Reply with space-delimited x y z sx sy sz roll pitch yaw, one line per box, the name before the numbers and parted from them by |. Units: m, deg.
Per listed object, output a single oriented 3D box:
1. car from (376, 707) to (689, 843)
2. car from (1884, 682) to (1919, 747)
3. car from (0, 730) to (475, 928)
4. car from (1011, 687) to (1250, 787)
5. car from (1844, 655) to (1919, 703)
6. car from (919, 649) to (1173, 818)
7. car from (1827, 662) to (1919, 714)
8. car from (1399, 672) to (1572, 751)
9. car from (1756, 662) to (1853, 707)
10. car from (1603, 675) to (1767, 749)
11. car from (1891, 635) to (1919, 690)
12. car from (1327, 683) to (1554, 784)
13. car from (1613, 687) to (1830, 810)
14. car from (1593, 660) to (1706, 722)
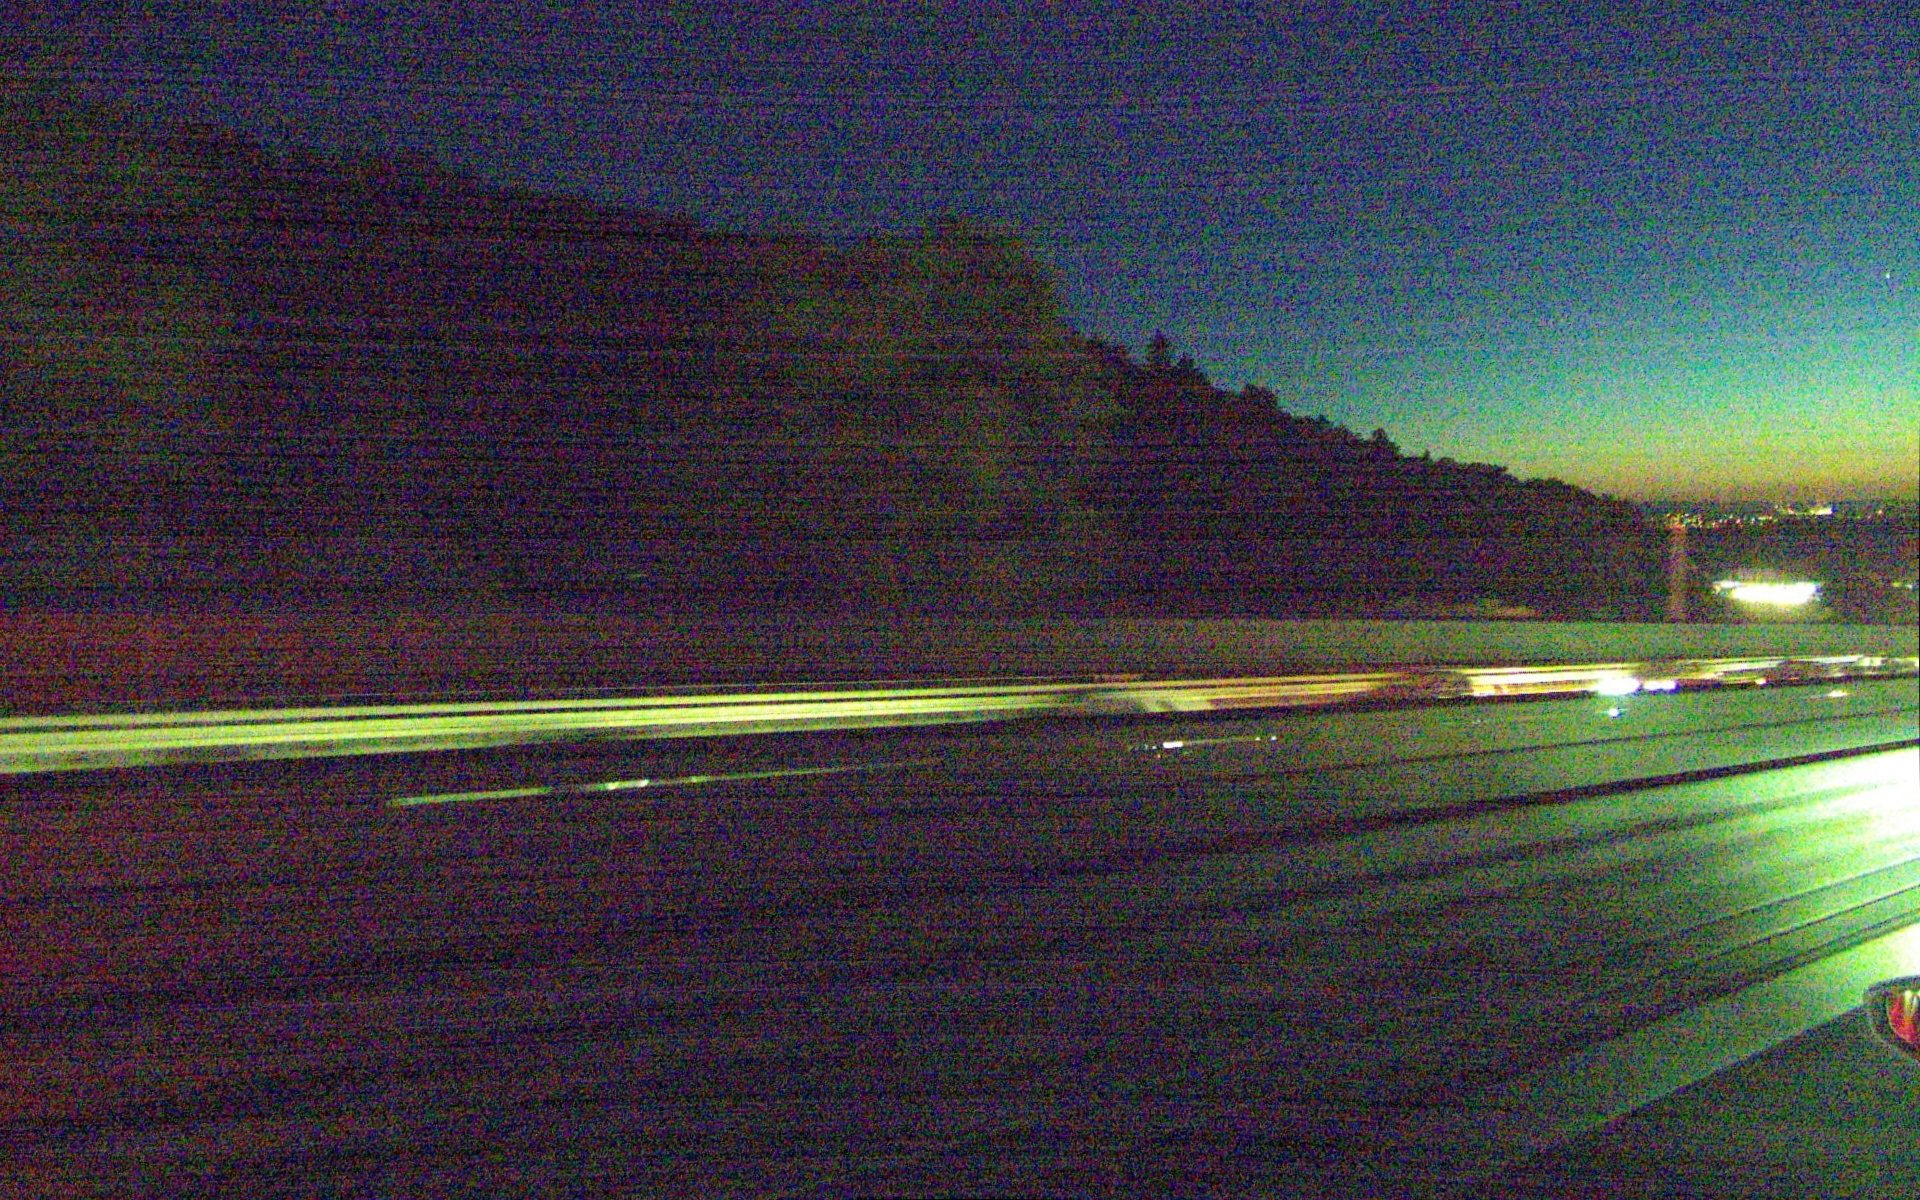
car | -6.108 2.405 14.464 3.955 1.416 1.689 1 -1 -32
car | 26.173 3.015 26.554 4.239 1.488 1.804 1 -1 -37
car | -7.023 2.114 9.890 3.952 1.320 1.711 1 -2 -30
car | 3.423 2.593 19.817 4.663 1.473 1.891 1 -1 -35
car | 37.780 3.170 40.762 3.959 1.739 1.939 1 -2 -34
car | 1.233 1.735 14.080 3.292 2.040 1.610 1 -2 -34
car | 29.724 2.785 32.450 3.963 1.477 1.810 1 -3 -37
car | 13.406 2.736 25.513 4.877 1.656 2.059 1 -3 -38
car | 31.373 3.096 37.281 3.961 1.477 1.811 1 -3 -36
car | 18.227 2.724 25.187 4.663 1.473 1.891 1 -1 -35
car | 46.069 2.901 47.270 5.635 2.474 2.015 1 0 -34
car | 9.344 2.465 19.408 4.663 1.473 1.891 1 -1 -35
car | 14.059 2.626 18.526 3.952 1.882 1.725 1 -3 -29
car | 22.430 2.904 32.653 3.959 1.739 1.741 1 -1 -35
